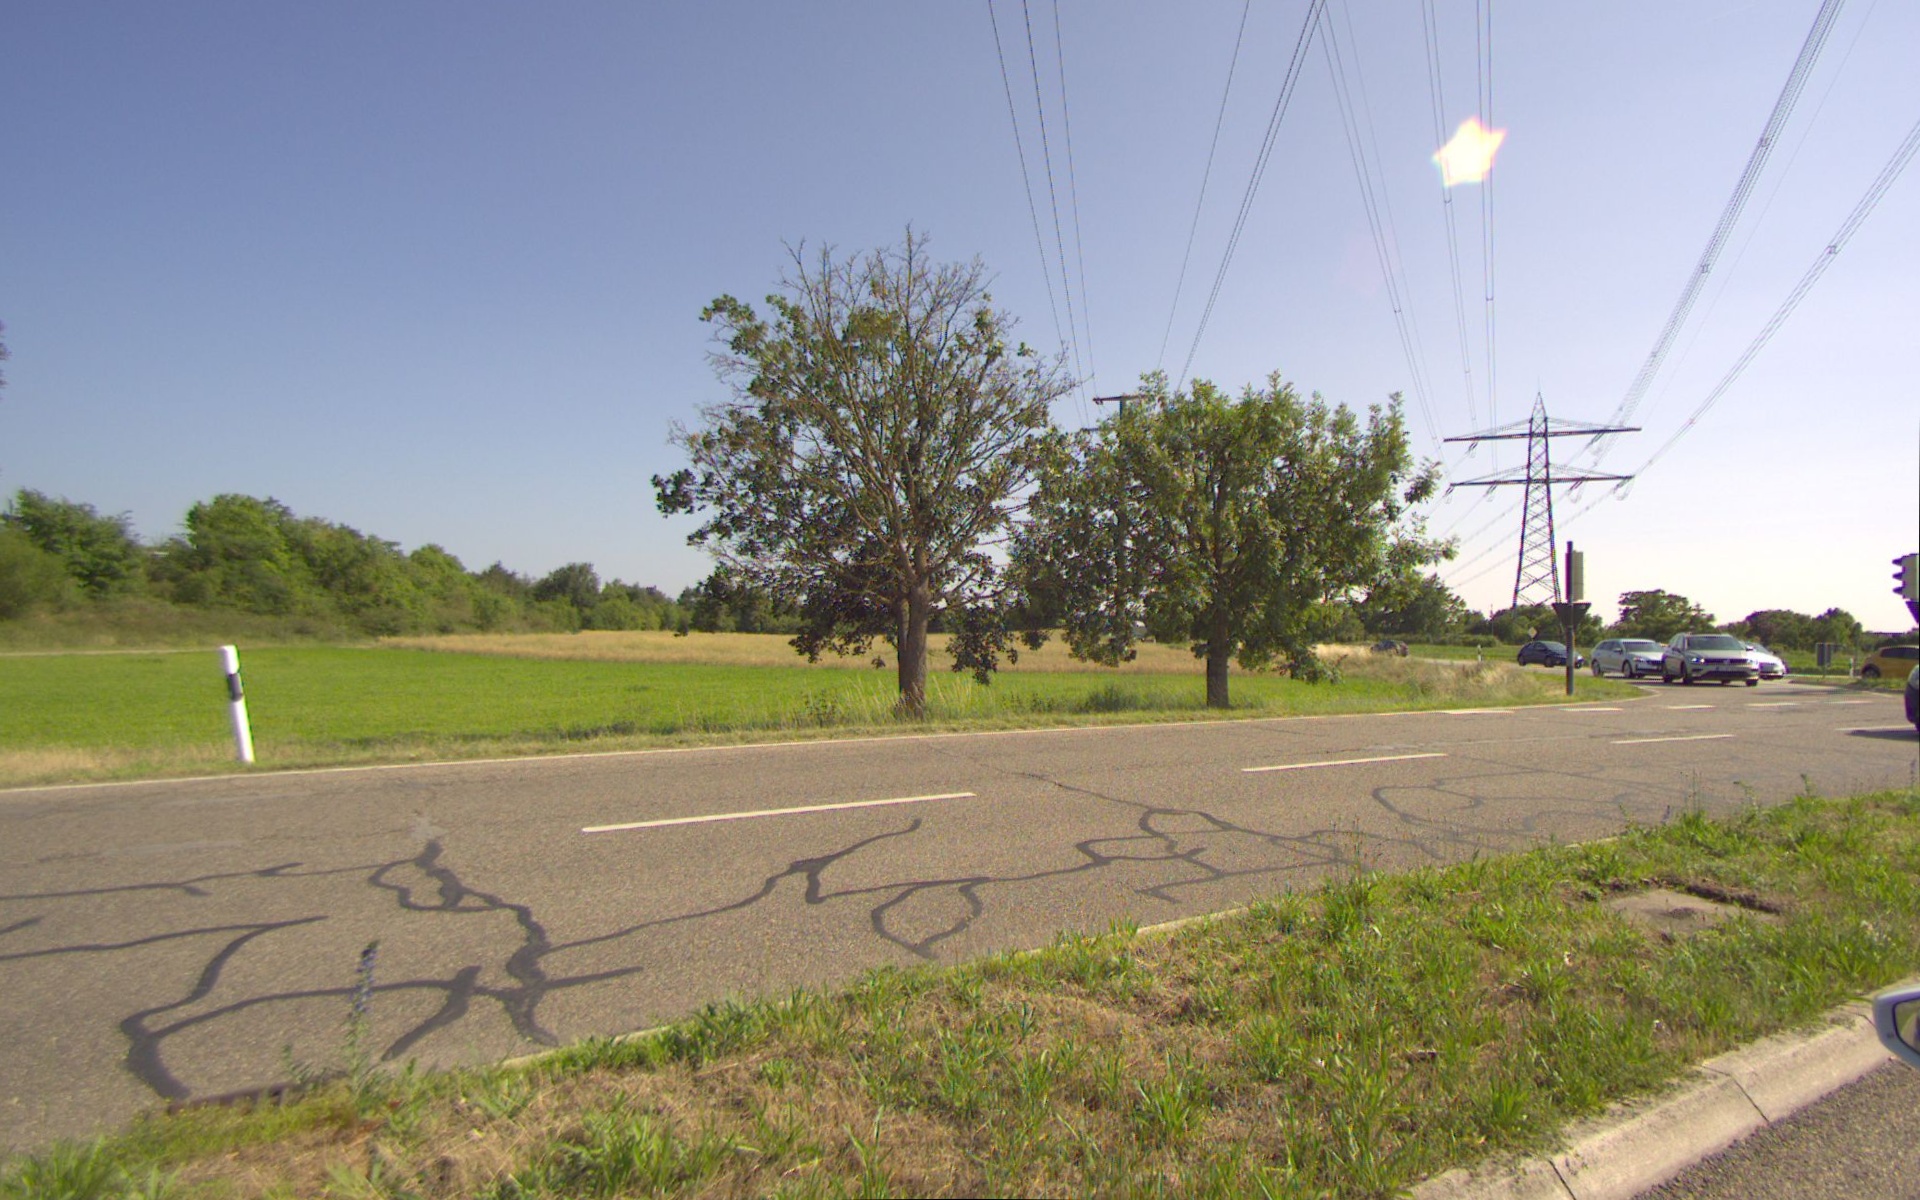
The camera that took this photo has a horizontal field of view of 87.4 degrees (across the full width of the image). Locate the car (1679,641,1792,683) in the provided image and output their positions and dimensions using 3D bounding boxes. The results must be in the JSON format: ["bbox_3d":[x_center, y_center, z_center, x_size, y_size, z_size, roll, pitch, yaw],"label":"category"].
[{"bbox_3d":[33.841,2.657,43.955,1.785,1.673,4.000,1,-1,-2],"label":"car"}]

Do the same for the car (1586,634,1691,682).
[{"bbox_3d":[25.512,2.135,37.923,1.783,1.673,4.003,1,-1,9],"label":"car"}]

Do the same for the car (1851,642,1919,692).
[{"bbox_3d":[33.805,2.348,35.069,1.785,1.673,4.000,1,-1,-2],"label":"car"}]

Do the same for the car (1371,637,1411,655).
[{"bbox_3d":[38.108,4.025,88.897,1.683,1.435,4.103,1,-1,-3],"label":"car"}]

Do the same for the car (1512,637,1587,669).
[{"bbox_3d":[33.254,2.961,56.784,1.785,1.673,4.000,1,-1,-2],"label":"car"}]

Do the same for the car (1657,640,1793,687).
[{"bbox_3d":[30.571,2.509,40.351,1.785,1.673,4.761,1,-1,-2],"label":"car"}]

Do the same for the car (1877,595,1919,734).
[{"bbox_3d":[15.857,0.944,14.403,4.873,1.944,1.991,1,0,-20],"label":"car"}]

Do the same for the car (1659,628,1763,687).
[{"bbox_3d":[23.325,1.743,31.339,1.786,1.673,3.997,0,-2,25],"label":"car"}]
